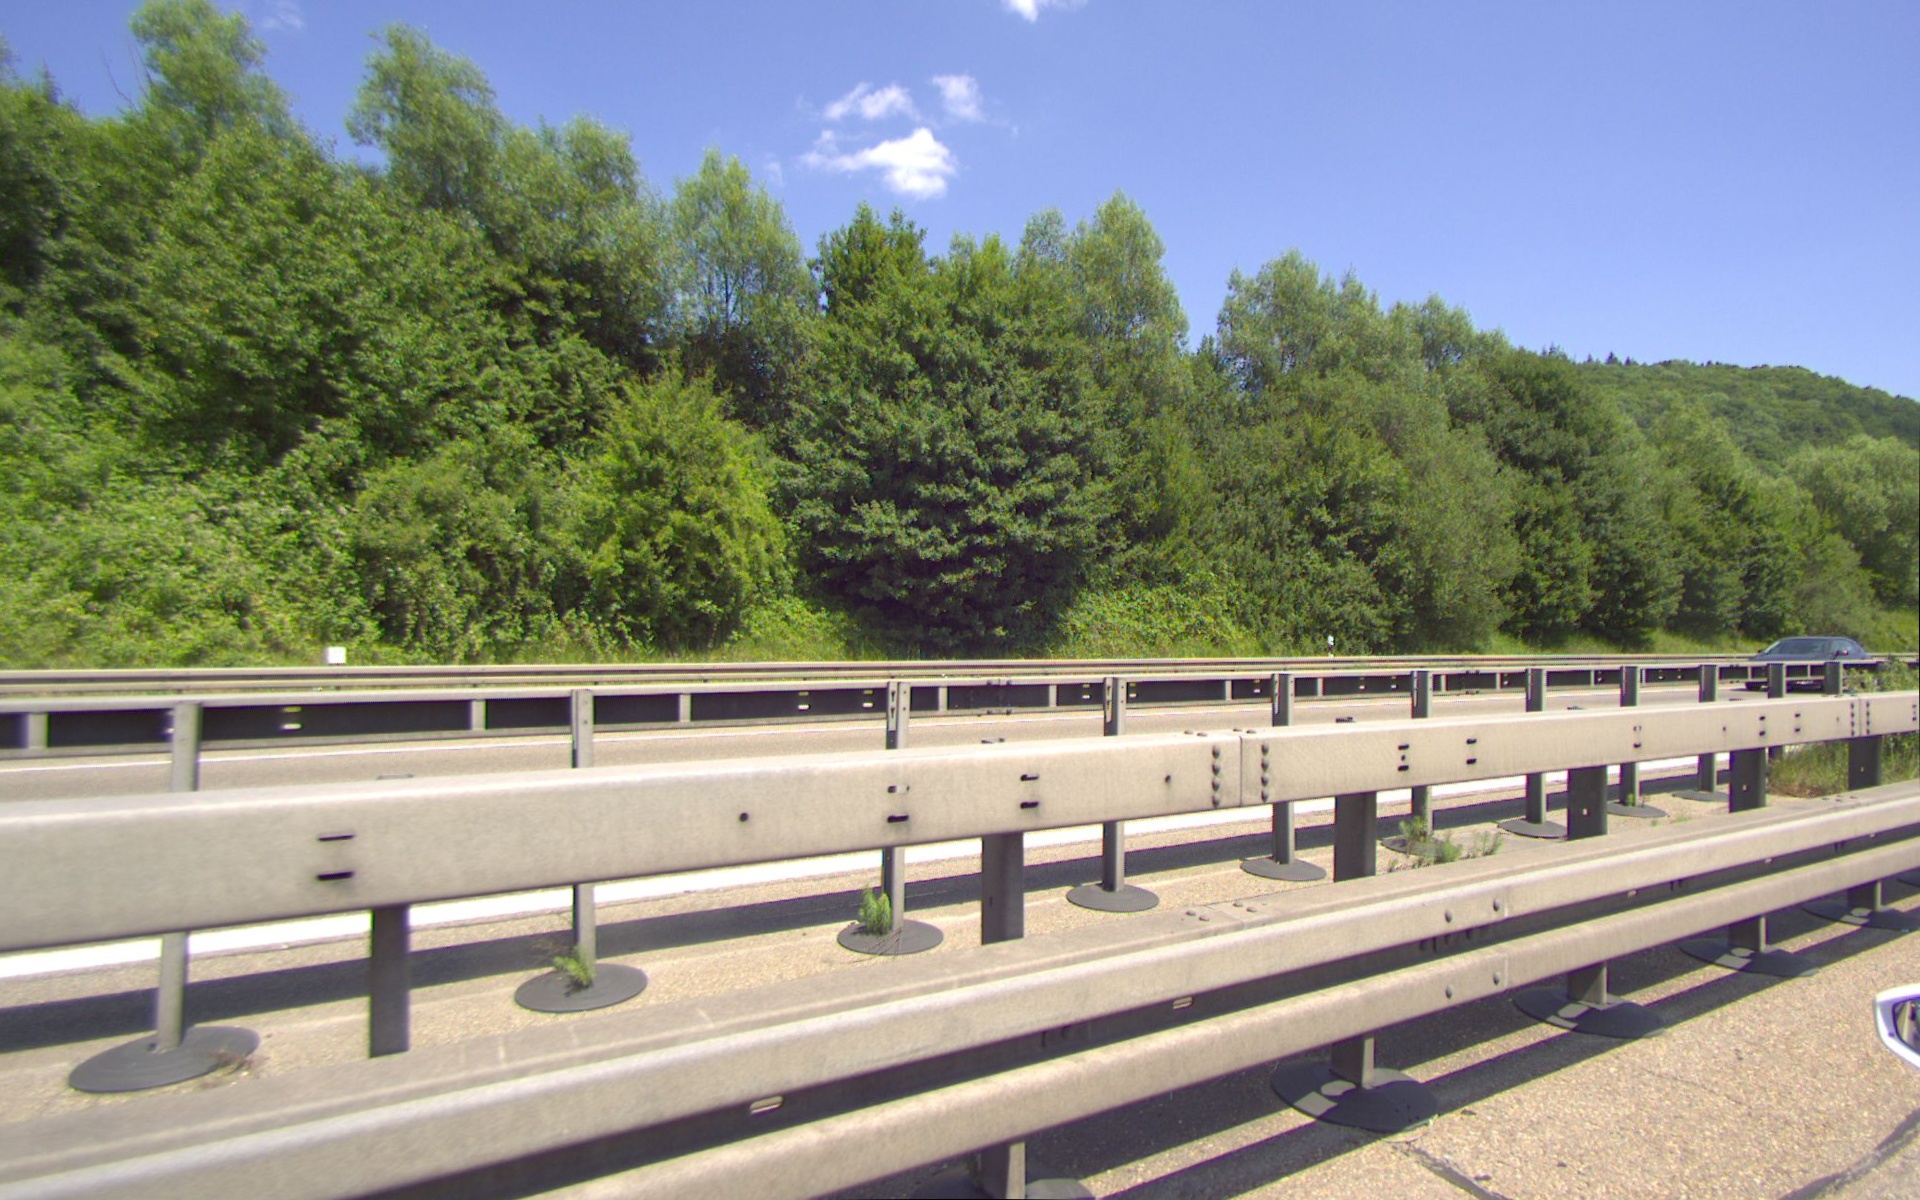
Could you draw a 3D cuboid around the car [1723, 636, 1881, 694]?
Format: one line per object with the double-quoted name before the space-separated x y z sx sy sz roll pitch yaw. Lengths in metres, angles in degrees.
"car" 22.605 1.704 26.943 4.380 1.439 1.861 2 -2 -30
